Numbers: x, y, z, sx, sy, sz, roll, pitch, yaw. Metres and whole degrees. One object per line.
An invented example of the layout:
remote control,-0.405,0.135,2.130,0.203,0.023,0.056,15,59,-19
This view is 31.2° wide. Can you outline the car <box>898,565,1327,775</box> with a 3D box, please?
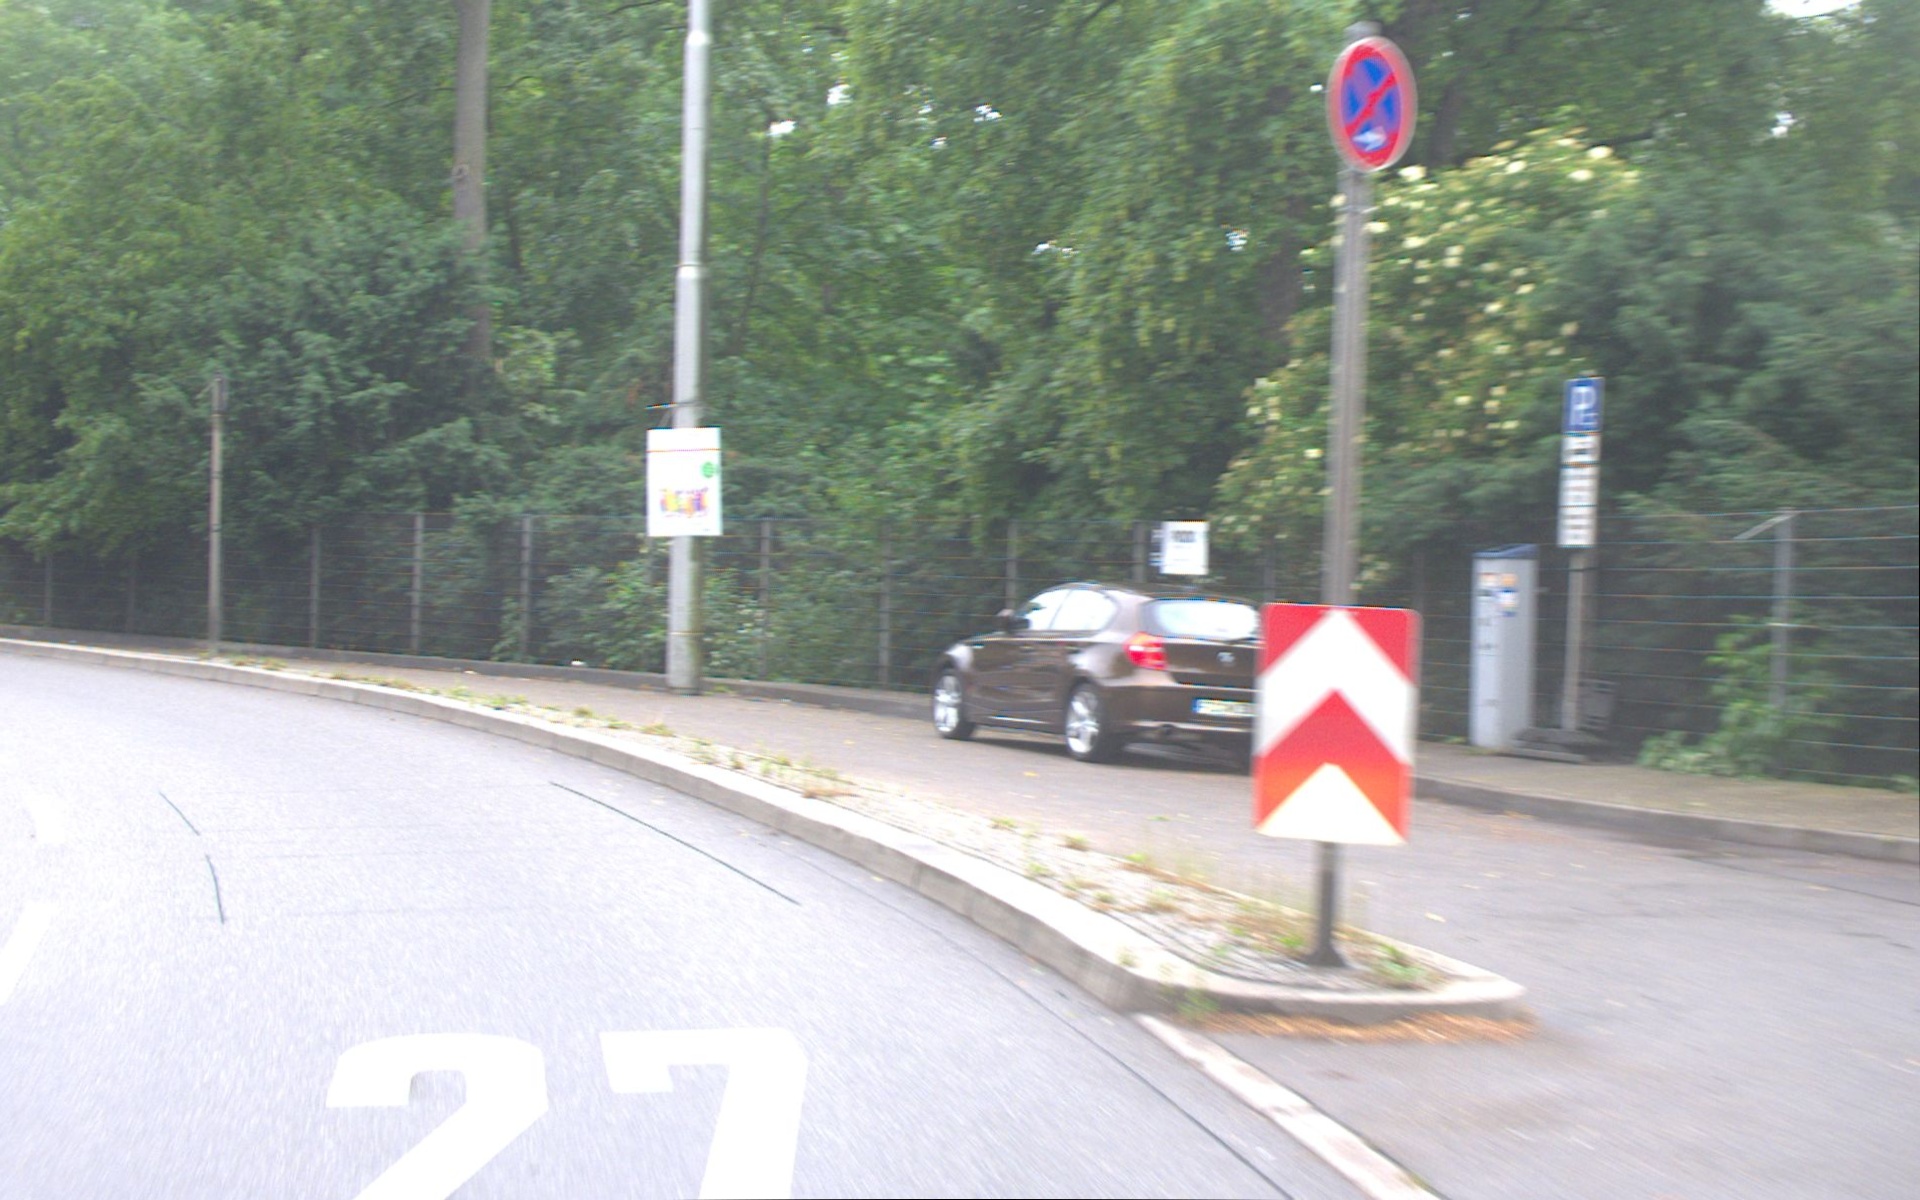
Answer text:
car,1.144,0.521,28.205,1.687,1.421,4.372,4,0,-23
